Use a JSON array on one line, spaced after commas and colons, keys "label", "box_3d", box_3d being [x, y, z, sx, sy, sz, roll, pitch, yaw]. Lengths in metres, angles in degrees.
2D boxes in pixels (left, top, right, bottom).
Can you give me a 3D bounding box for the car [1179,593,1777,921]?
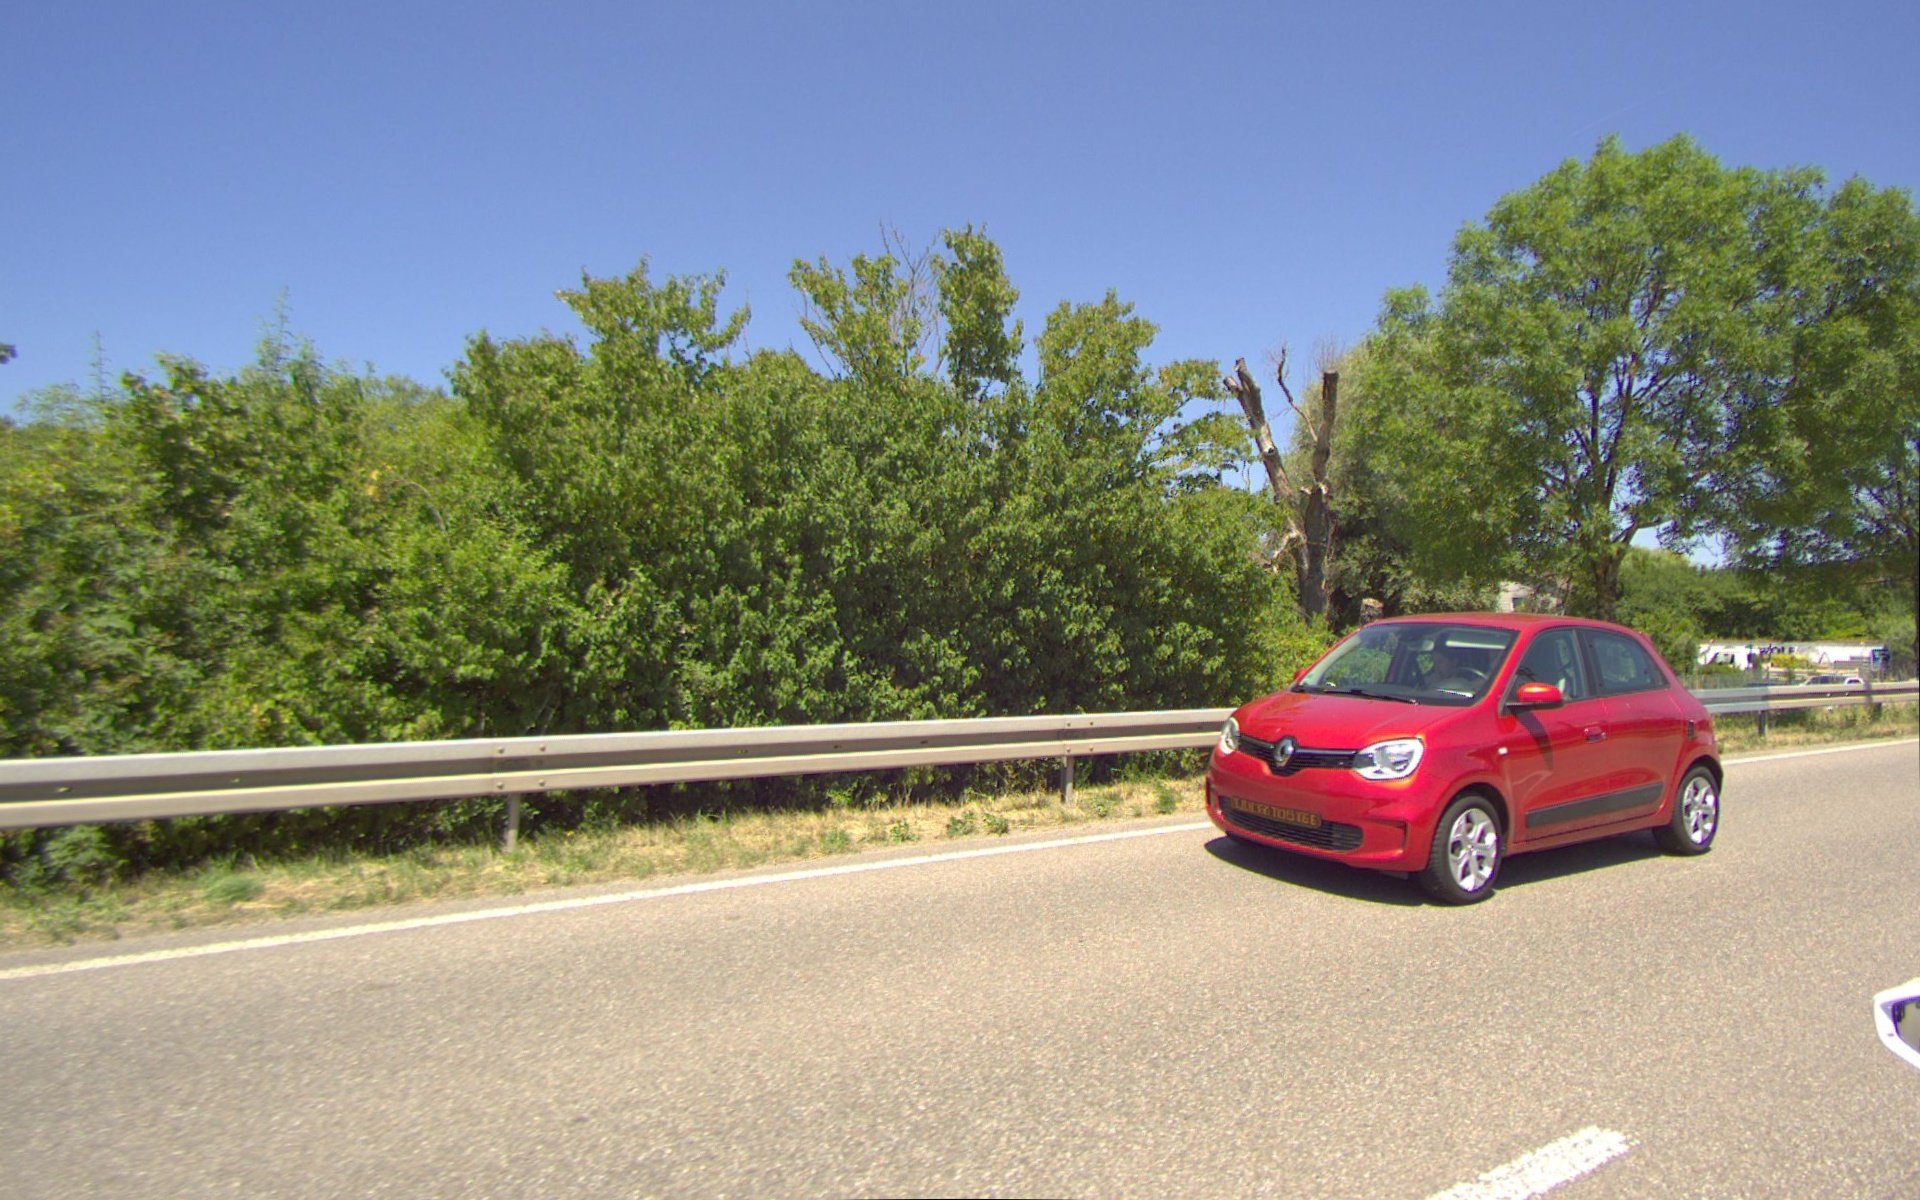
[{"label": "car", "box_3d": [3.480, 0.808, 6.563, 3.954, 1.572, 1.644, 2, -1, -31]}]
